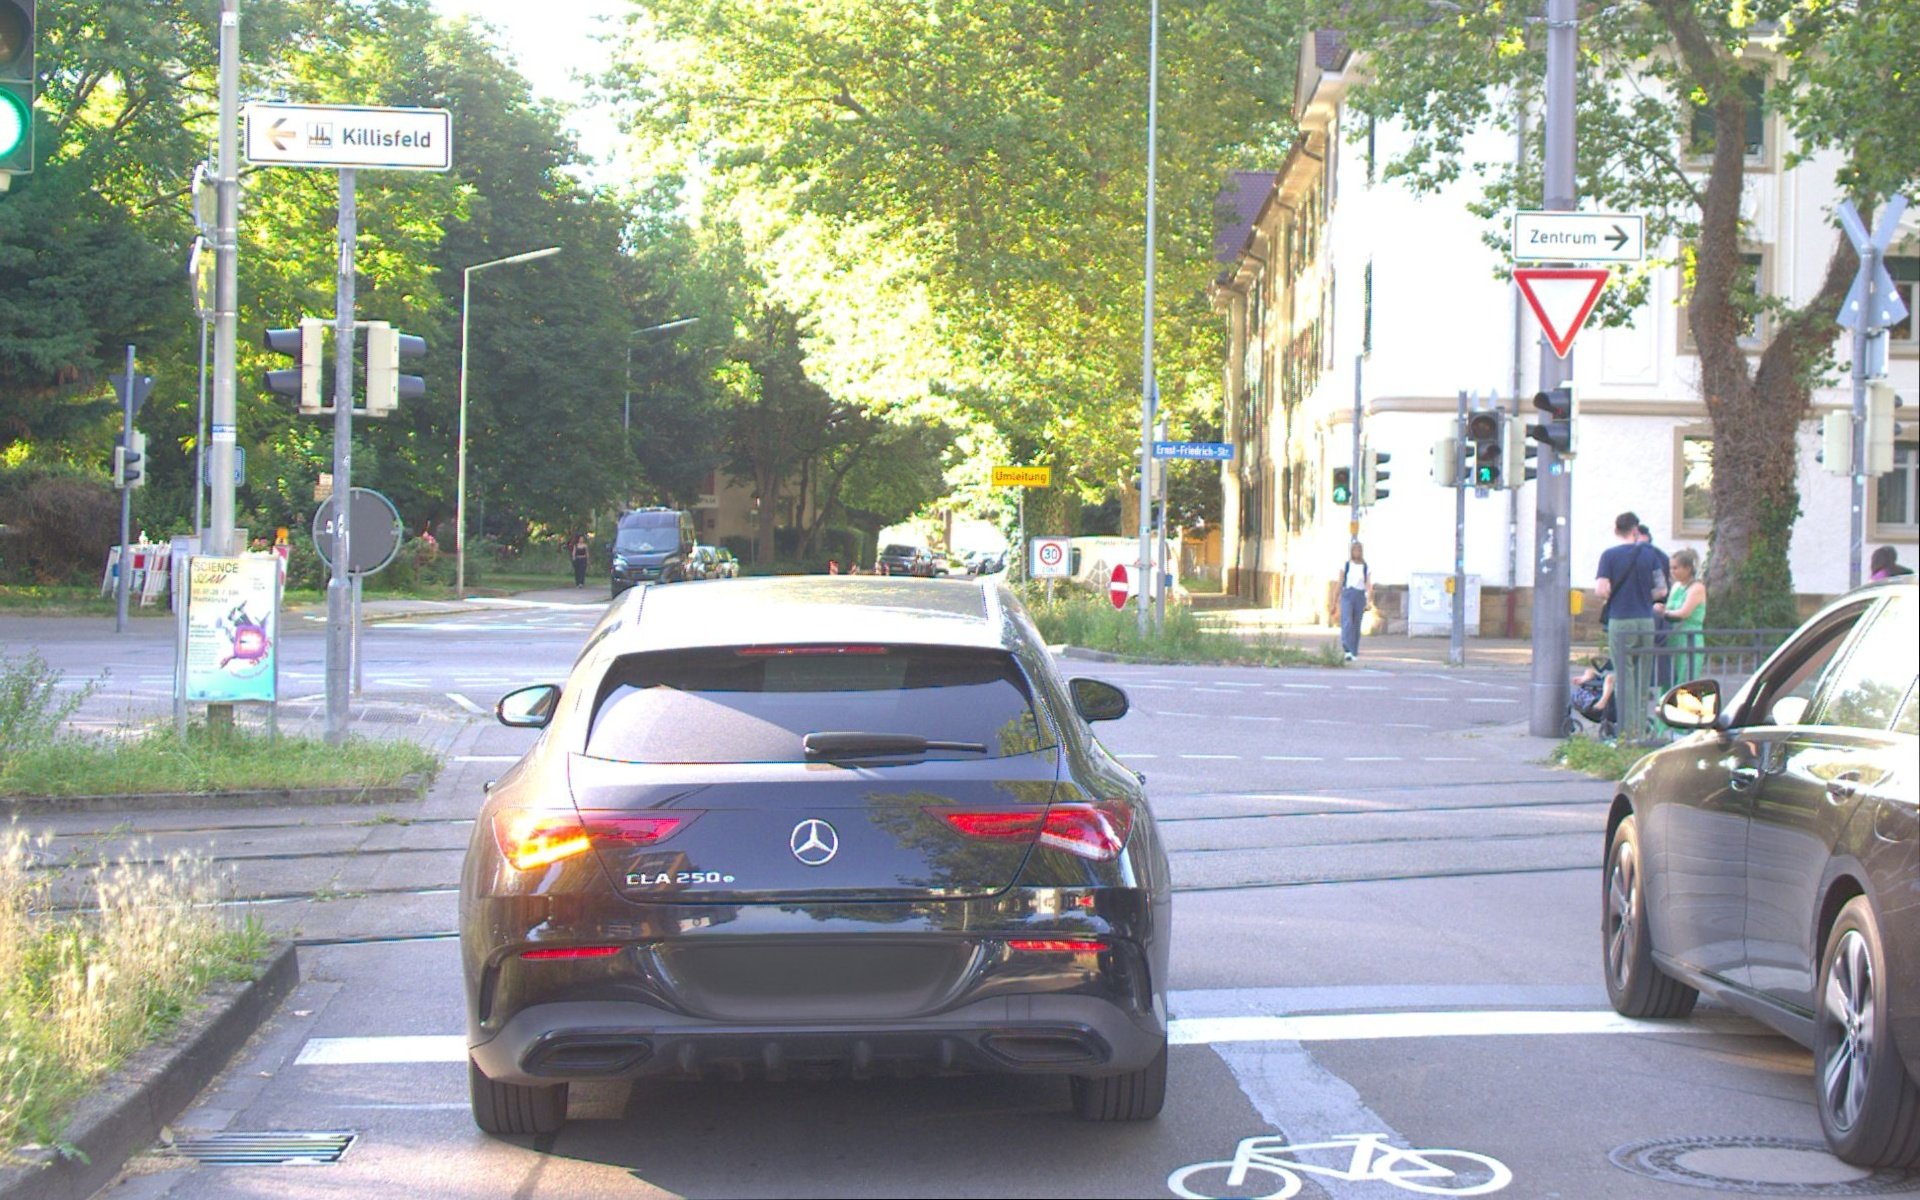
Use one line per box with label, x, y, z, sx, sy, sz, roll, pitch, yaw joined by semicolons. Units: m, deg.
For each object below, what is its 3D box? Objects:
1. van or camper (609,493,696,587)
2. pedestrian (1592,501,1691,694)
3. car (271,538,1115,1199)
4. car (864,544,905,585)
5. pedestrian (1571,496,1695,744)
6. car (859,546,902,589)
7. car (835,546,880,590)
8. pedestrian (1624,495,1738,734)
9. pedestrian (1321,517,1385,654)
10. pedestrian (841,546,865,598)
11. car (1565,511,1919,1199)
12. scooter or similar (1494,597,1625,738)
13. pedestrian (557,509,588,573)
van or camper;-8.654;-1.681;97.140;1.993;2.533;4.651;2;0;0
pedestrian;6.899;-0.033;34.853;0.705;1.911;0.839;2;0;-6
car;-0.581;0.638;9.850;1.889;1.445;4.001;2;3;1
car;-3.418;-1.596;155.854;1.733;1.759;4.019;2;0;-1
pedestrian;5.307;0.154;27.141;0.705;1.911;0.685;2;0;-9
car;-3.420;-1.394;147.771;1.733;1.759;4.019;2;0;-1
car;-4.240;-1.321;142.562;1.733;1.759;4.019;2;0;-1
pedestrian;5.878;0.113;28.068;0.682;1.911;0.707;2;0;-4
pedestrian;5.570;-0.205;48.750;0.705;1.911;0.839;2;0;-4
pedestrian;-3.964;-1.035;127.415;0.705;1.911;0.839;2;0;-10
car;2.970;0.591;9.080;1.889;1.485;4.382;2;3;0
scooter or similar;4.867;0.540;27.955;0.828;1.101;0.809;2;0;-6
pedestrian;-11.801;-1.804;104.764;0.705;1.911;0.839;2;0;6
